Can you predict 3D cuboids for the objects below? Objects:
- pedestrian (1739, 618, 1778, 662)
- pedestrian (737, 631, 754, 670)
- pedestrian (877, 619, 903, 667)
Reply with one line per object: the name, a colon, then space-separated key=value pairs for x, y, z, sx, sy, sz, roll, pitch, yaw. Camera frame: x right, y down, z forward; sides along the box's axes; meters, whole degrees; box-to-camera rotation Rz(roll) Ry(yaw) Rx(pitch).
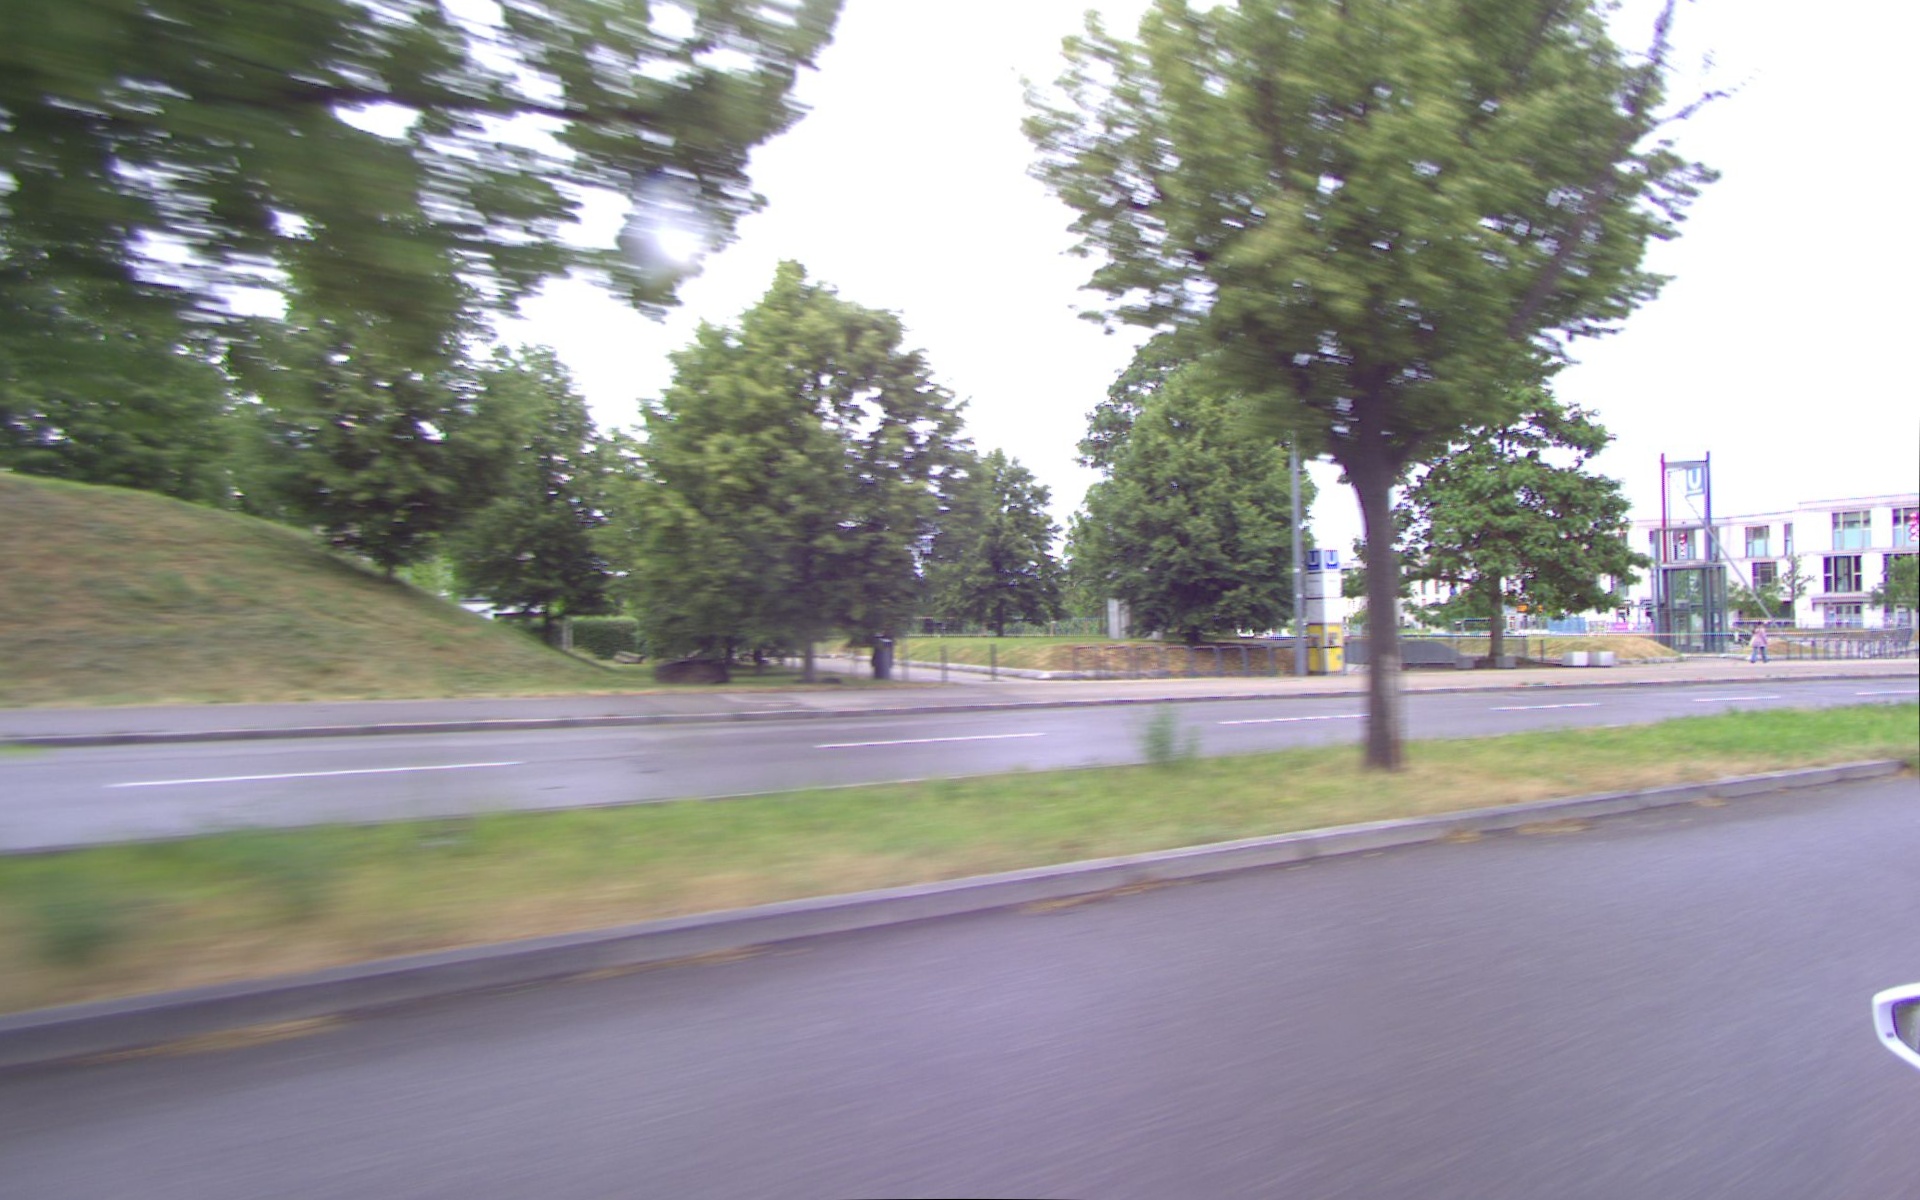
pedestrian: x=30.361 y=1.505 z=38.199 sx=0.922 sy=1.642 sz=0.811 roll=2 pitch=-1 yaw=-24
pedestrian: x=-10.017 y=2.358 z=46.868 sx=0.638 sy=1.751 sz=0.752 roll=2 pitch=-1 yaw=-19
pedestrian: x=-2.609 y=1.613 z=37.400 sx=0.745 sy=1.751 sz=0.644 roll=2 pitch=-1 yaw=-25
